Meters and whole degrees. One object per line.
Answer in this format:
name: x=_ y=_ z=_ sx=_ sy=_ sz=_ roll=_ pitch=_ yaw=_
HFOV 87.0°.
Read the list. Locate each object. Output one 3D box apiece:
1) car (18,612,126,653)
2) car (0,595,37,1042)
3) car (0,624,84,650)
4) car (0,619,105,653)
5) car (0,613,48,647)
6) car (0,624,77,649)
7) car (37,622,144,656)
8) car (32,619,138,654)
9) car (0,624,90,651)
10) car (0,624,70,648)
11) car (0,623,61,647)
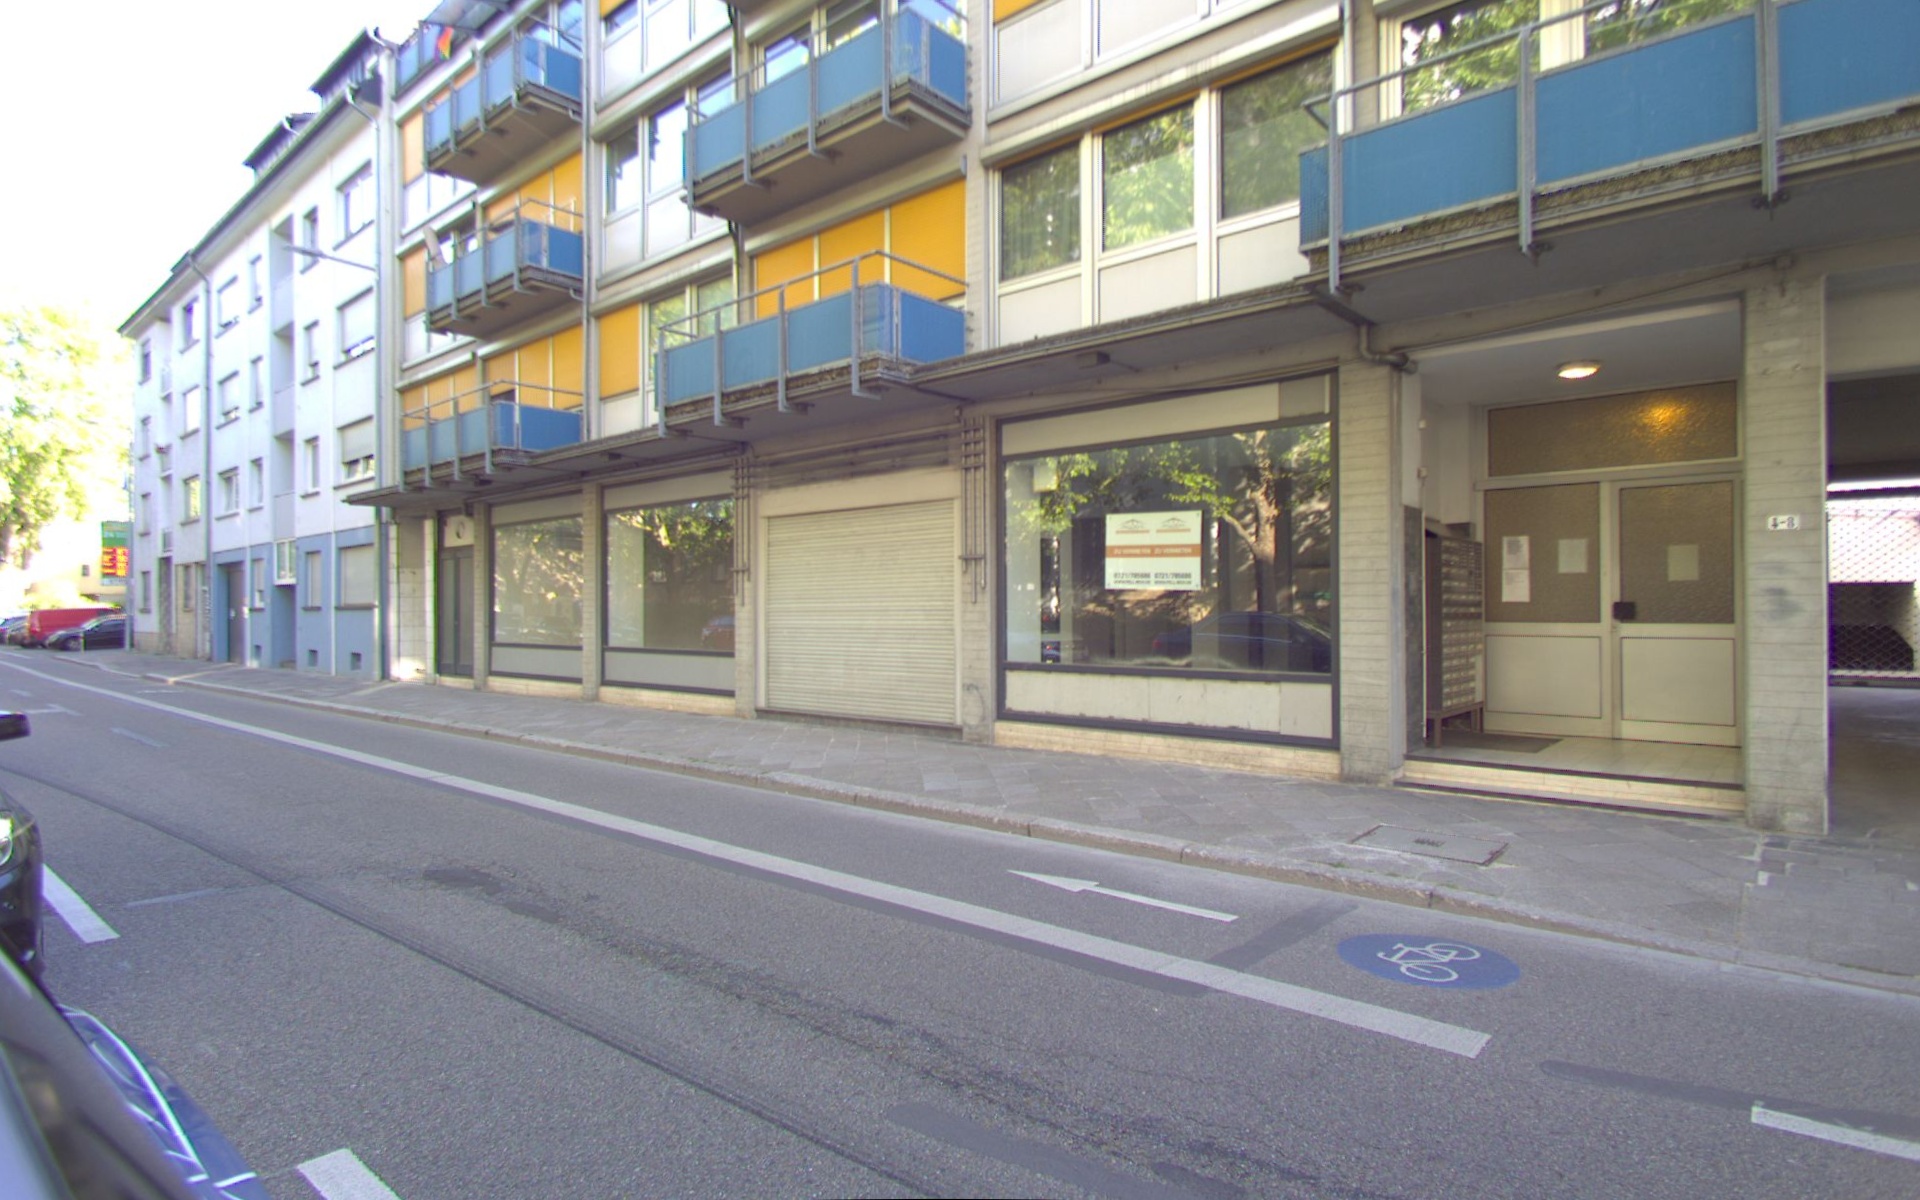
car: x=-43.690 y=1.573 z=49.855 sx=1.749 sy=1.921 sz=3.854 roll=-1 pitch=-1 yaw=42
car: x=-5.416 y=0.770 z=4.198 sx=4.291 sy=1.515 sz=1.805 roll=-1 pitch=0 yaw=40
car: x=-53.347 y=2.125 z=58.551 sx=1.594 sy=1.385 sz=3.854 roll=-1 pitch=0 yaw=42
car: x=-46.037 y=1.789 z=51.394 sx=1.603 sy=1.598 sz=3.854 roll=-1 pitch=0 yaw=42
car: x=-62.697 y=1.978 z=66.579 sx=1.725 sy=2.193 sz=3.854 roll=-1 pitch=0 yaw=42
car: x=-55.363 y=2.186 z=60.430 sx=1.525 sy=1.343 sz=3.854 roll=-1 pitch=0 yaw=42
car: x=-39.779 y=1.754 z=46.342 sx=1.534 sy=1.420 sz=3.551 roll=-2 pitch=-1 yaw=42
car: x=-41.497 y=1.709 z=48.038 sx=1.602 sy=1.521 sz=3.620 roll=-1 pitch=0 yaw=42
car: x=-51.833 y=2.105 z=57.211 sx=1.594 sy=1.385 sz=3.854 roll=-1 pitch=0 yaw=42
car: x=-57.169 y=2.210 z=61.991 sx=1.525 sy=1.343 sz=3.854 roll=-1 pitch=0 yaw=42
car: x=-59.199 y=2.199 z=63.749 sx=1.539 sy=1.451 sz=3.733 roll=-1 pitch=0 yaw=42
